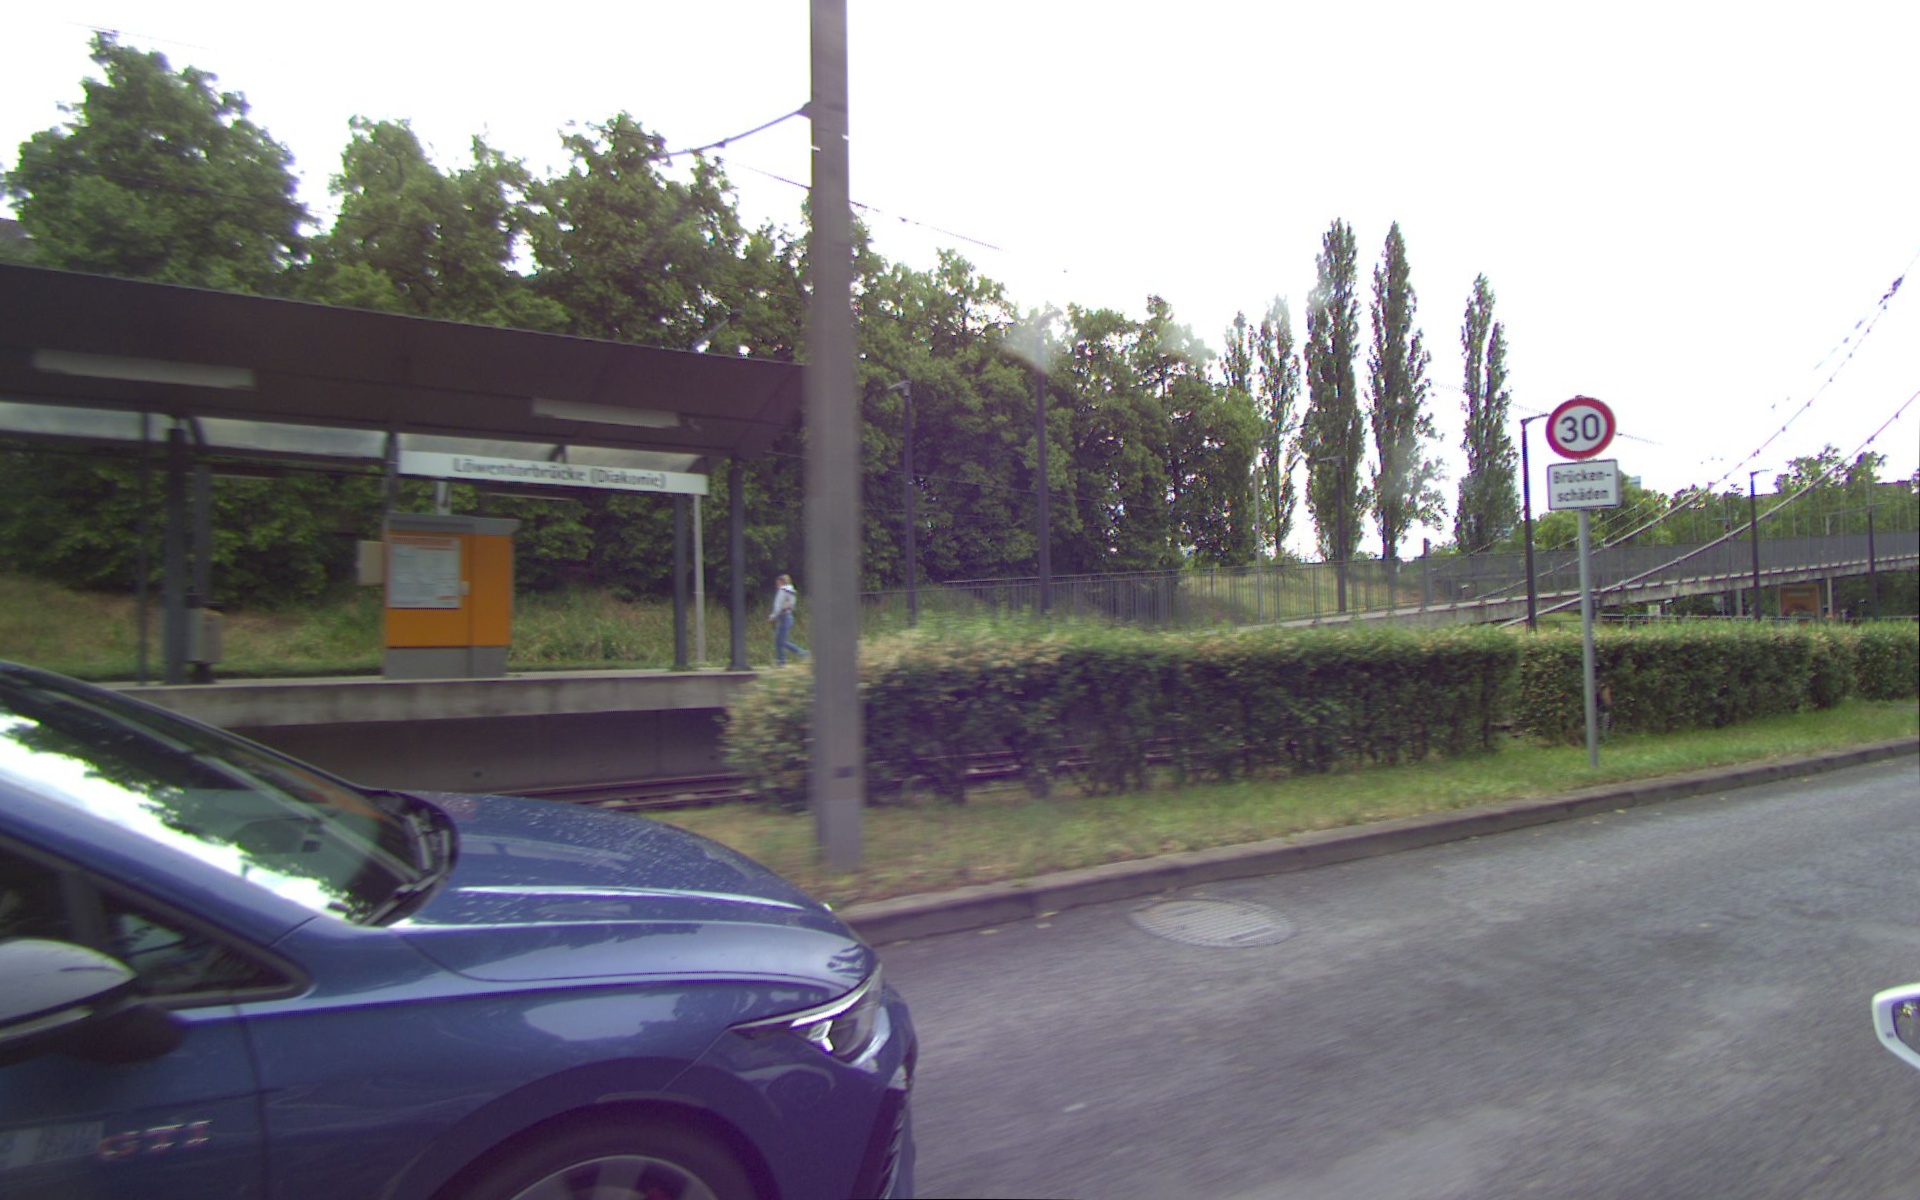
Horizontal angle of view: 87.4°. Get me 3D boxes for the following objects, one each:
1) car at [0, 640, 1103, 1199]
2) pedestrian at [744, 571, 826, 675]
[{"bbox_3d":[-1.995,0.797,1.819,4.295,1.396,1.800,1,-2,-30],"label":"car"},{"bbox_3d":[-2.872,0.390,16.486,0.932,1.632,1.013,2,-3,-45],"label":"pedestrian"}]
